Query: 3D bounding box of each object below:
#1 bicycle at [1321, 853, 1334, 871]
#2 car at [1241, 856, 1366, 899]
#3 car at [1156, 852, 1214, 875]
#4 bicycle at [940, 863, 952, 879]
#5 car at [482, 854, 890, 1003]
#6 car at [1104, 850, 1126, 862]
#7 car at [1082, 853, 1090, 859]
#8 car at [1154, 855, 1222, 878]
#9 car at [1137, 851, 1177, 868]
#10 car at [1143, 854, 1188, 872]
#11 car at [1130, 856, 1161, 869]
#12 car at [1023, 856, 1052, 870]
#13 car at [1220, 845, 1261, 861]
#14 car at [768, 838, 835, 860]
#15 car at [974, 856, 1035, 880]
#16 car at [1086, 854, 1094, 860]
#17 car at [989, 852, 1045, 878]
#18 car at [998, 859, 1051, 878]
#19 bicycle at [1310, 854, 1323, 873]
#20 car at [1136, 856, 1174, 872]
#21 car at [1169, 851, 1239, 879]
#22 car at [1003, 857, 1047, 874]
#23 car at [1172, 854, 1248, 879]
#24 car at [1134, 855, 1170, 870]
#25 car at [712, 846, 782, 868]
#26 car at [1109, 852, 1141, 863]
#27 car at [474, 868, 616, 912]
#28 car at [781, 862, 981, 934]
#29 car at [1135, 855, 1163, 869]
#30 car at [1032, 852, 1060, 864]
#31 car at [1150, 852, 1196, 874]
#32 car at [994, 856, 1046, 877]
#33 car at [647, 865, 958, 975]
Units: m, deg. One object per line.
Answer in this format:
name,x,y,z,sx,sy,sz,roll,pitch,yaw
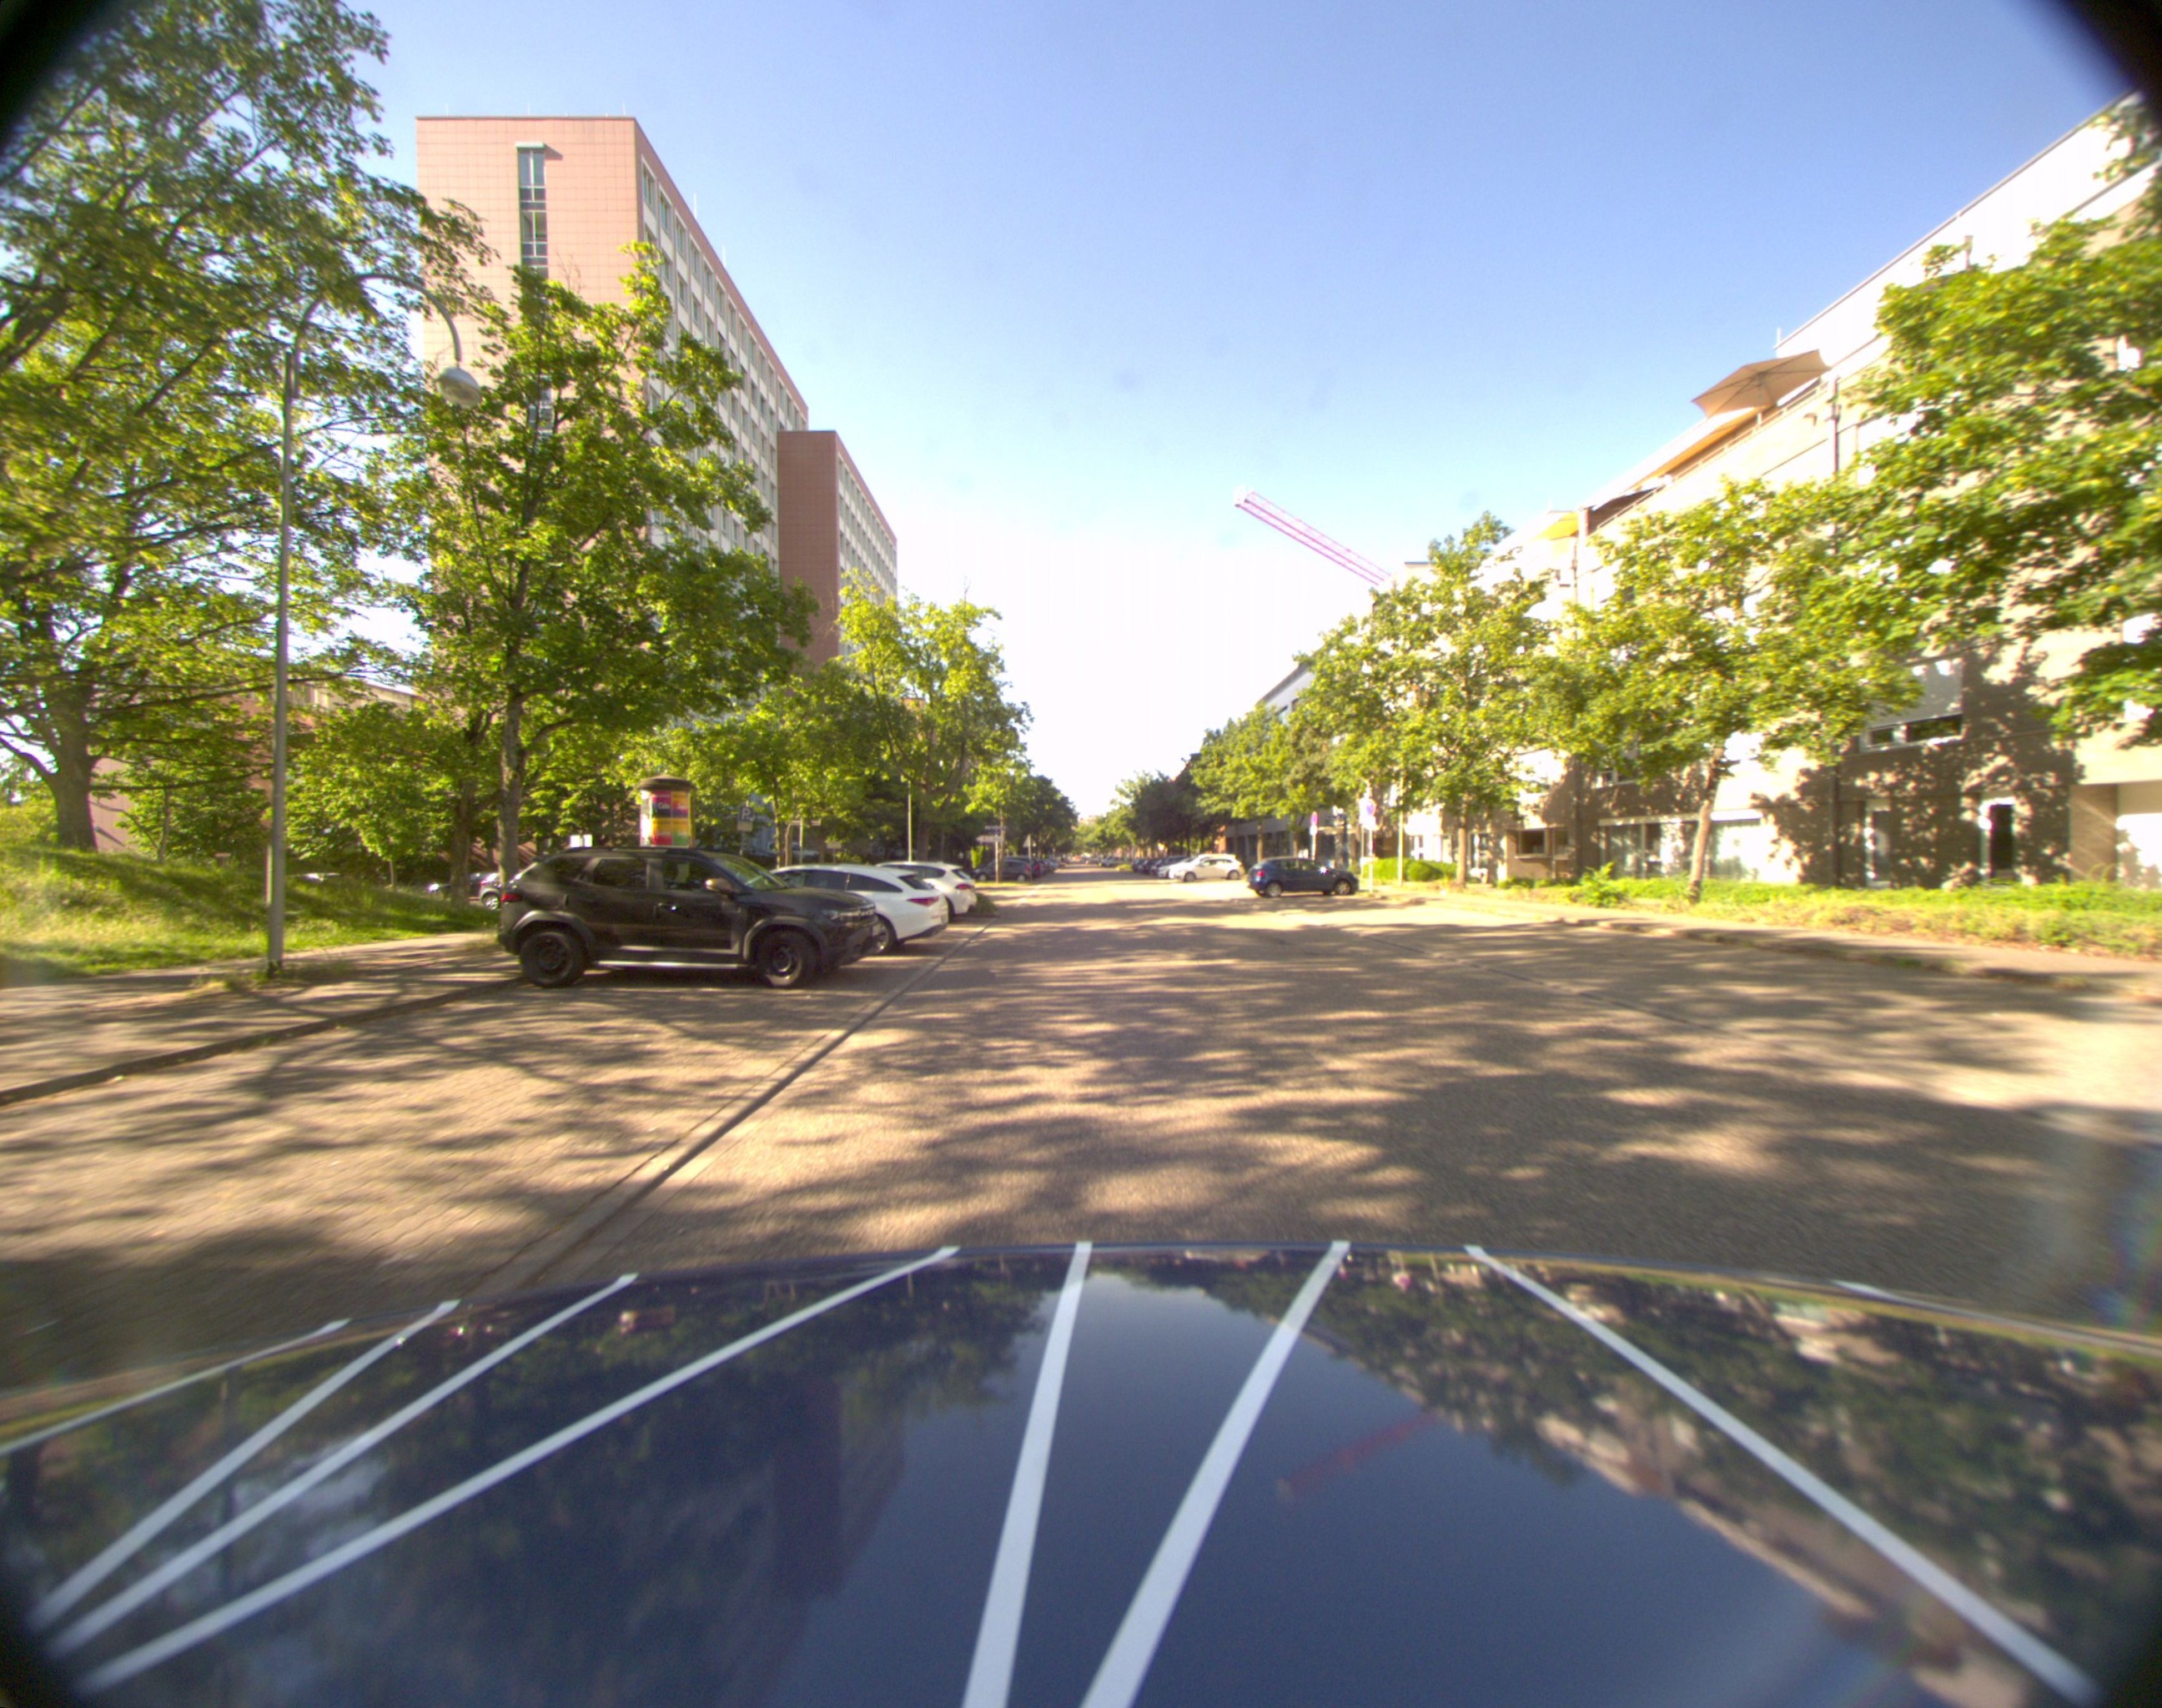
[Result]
bicycle,16.555,0.554,51.103,0.338,1.168,1.627,-2,1,0
car,8.056,0.828,27.711,3.998,1.403,1.816,-2,1,-4
car,7.836,0.708,57.695,4.122,1.611,1.803,-2,0,1
bicycle,-9.047,1.108,50.846,0.303,0.987,1.957,-1,0,4
car,-4.644,0.850,9.420,4.129,1.609,1.733,1,1,-2
car,6.587,0.355,147.844,3.998,2.094,1.999,-2,1,-2
car,1.425,0.517,207.852,1.951,1.617,4.001,0,0,3
car,7.677,0.870,54.639,4.521,1.443,1.940,-2,0,-4
car,7.273,0.519,72.758,3.539,1.428,1.657,-2,1,-2
car,7.654,0.817,69.200,3.832,1.405,1.687,-2,-1,-2
car,7.997,1.020,94.145,3.630,1.499,1.617,-2,1,-2
car,-4.811,0.991,84.814,3.053,1.595,1.604,1,0,2
car,22.455,-0.097,106.901,5.329,2.086,1.932,-2,1,-2
car,-22.466,-0.397,61.219,4.730,1.676,1.875,-1,0,-4
car,-5.020,0.950,50.309,3.846,1.438,1.592,2,-1,-3
car,2.191,0.668,185.707,1.766,1.365,4.001,0,0,3
car,-4.444,0.753,53.016,3.681,1.741,1.724,1,1,2
car,-4.758,1.183,64.722,4.432,1.544,1.859,0,0,-1
bicycle,15.677,0.621,50.675,0.338,1.168,1.627,-2,1,0
car,7.269,0.961,74.969,3.539,1.437,1.657,-2,1,-4
car,7.974,0.712,49.647,4.236,1.593,1.952,-2,1,0
car,-5.253,1.064,71.444,3.983,1.540,1.683,-1,0,-4
car,7.869,0.745,46.581,4.269,1.471,1.800,-1,0,-1
car,7.381,0.875,79.552,3.539,1.497,1.646,-2,1,-2
car,-23.729,0.209,54.124,4.237,1.498,1.723,-1,0,-6
car,7.359,0.586,128.408,5.252,1.616,1.953,-2,1,1
car,-20.162,1.340,28.697,3.997,1.521,1.834,-1,0,-2
car,-4.782,1.048,18.681,4.439,1.583,1.836,1,0,-3
car,7.477,0.847,84.108,2.933,1.435,1.389,-1,1,-1
car,-5.320,0.555,114.966,4.165,1.696,1.999,-2,1,-3
car,7.520,0.743,62.185,3.581,1.658,1.655,-2,0,2
car,-4.621,0.946,57.391,3.882,1.556,1.808,0,1,-5
car,-4.429,1.026,12.612,4.454,1.536,1.817,-2,1,-1
